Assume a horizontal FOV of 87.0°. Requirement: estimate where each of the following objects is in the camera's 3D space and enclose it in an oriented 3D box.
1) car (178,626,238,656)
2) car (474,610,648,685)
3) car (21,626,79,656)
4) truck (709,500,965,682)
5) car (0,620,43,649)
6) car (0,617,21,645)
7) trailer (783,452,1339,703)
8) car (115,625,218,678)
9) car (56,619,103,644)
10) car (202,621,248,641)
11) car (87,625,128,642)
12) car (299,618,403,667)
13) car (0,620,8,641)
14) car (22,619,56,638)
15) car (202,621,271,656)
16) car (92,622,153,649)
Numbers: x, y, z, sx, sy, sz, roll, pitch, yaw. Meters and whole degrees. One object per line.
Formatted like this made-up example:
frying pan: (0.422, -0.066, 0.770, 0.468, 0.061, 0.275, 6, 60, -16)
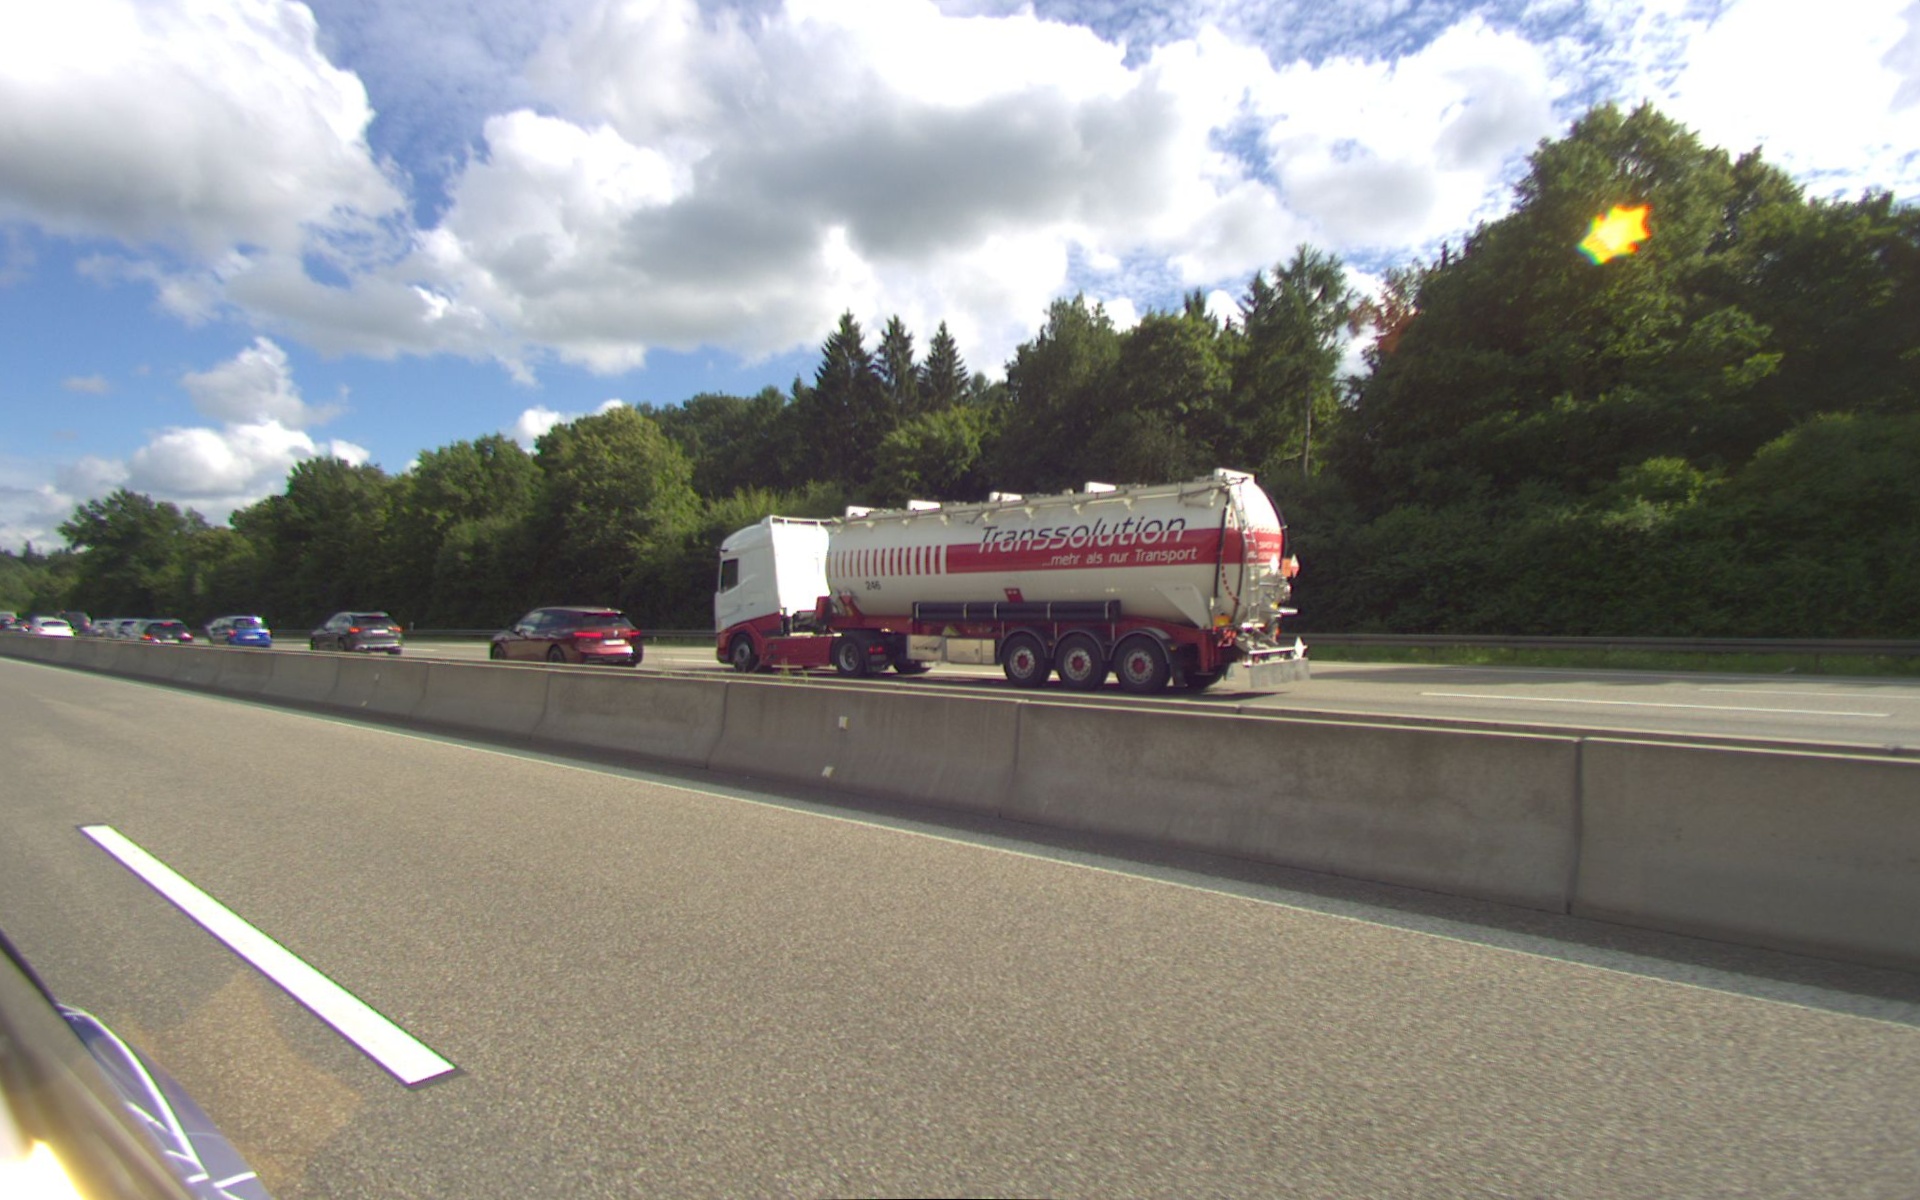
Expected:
car: (-42.355, 2.281, 56.953, 4.282, 1.572, 1.836, -1, -1, 41)
car: (-9.999, 1.124, 25.138, 5.208, 1.683, 1.836, -1, -1, 41)
car: (-52.316, 2.345, 58.147, 4.239, 1.653, 1.893, -1, -3, 40)
truck: (-3.217, -0.136, 25.196, 6.443, 3.975, 2.758, -1, -1, 42)
car: (-61.292, 2.223, 65.607, 4.873, 1.815, 2.149, -1, -1, 40)
car: (-70.330, 2.244, 73.757, 5.819, 2.029, 2.137, -1, -3, 41)
trailer: (1.271, -0.240, 21.138, 12.248, 3.975, 2.758, -1, -1, 42)
car: (-30.423, 1.923, 38.758, 4.977, 1.892, 2.149, -1, -3, 40)
car: (-65.836, 2.338, 75.656, 5.122, 1.819, 1.973, -1, -1, 41)
car: (-63.547, 2.645, 87.457, 4.873, 1.649, 2.149, -1, -1, 40)
car: (-69.547, 2.734, 82.533, 4.547, 1.312, 1.846, -1, -1, 40)
car: (-22.088, 1.491, 36.630, 4.745, 1.632, 1.840, -1, -1, 41)
car: (-74.685, 2.339, 77.455, 4.547, 1.630, 2.149, -1, -1, 40)
car: (-95.630, 2.957, 105.083, 5.338, 1.865, 1.930, -1, -1, 40)
car: (-32.694, 1.720, 45.698, 3.996, 1.523, 1.612, -1, -1, 40)
car: (-49.678, 2.089, 59.983, 5.128, 1.496, 1.973, -1, -1, 41)
